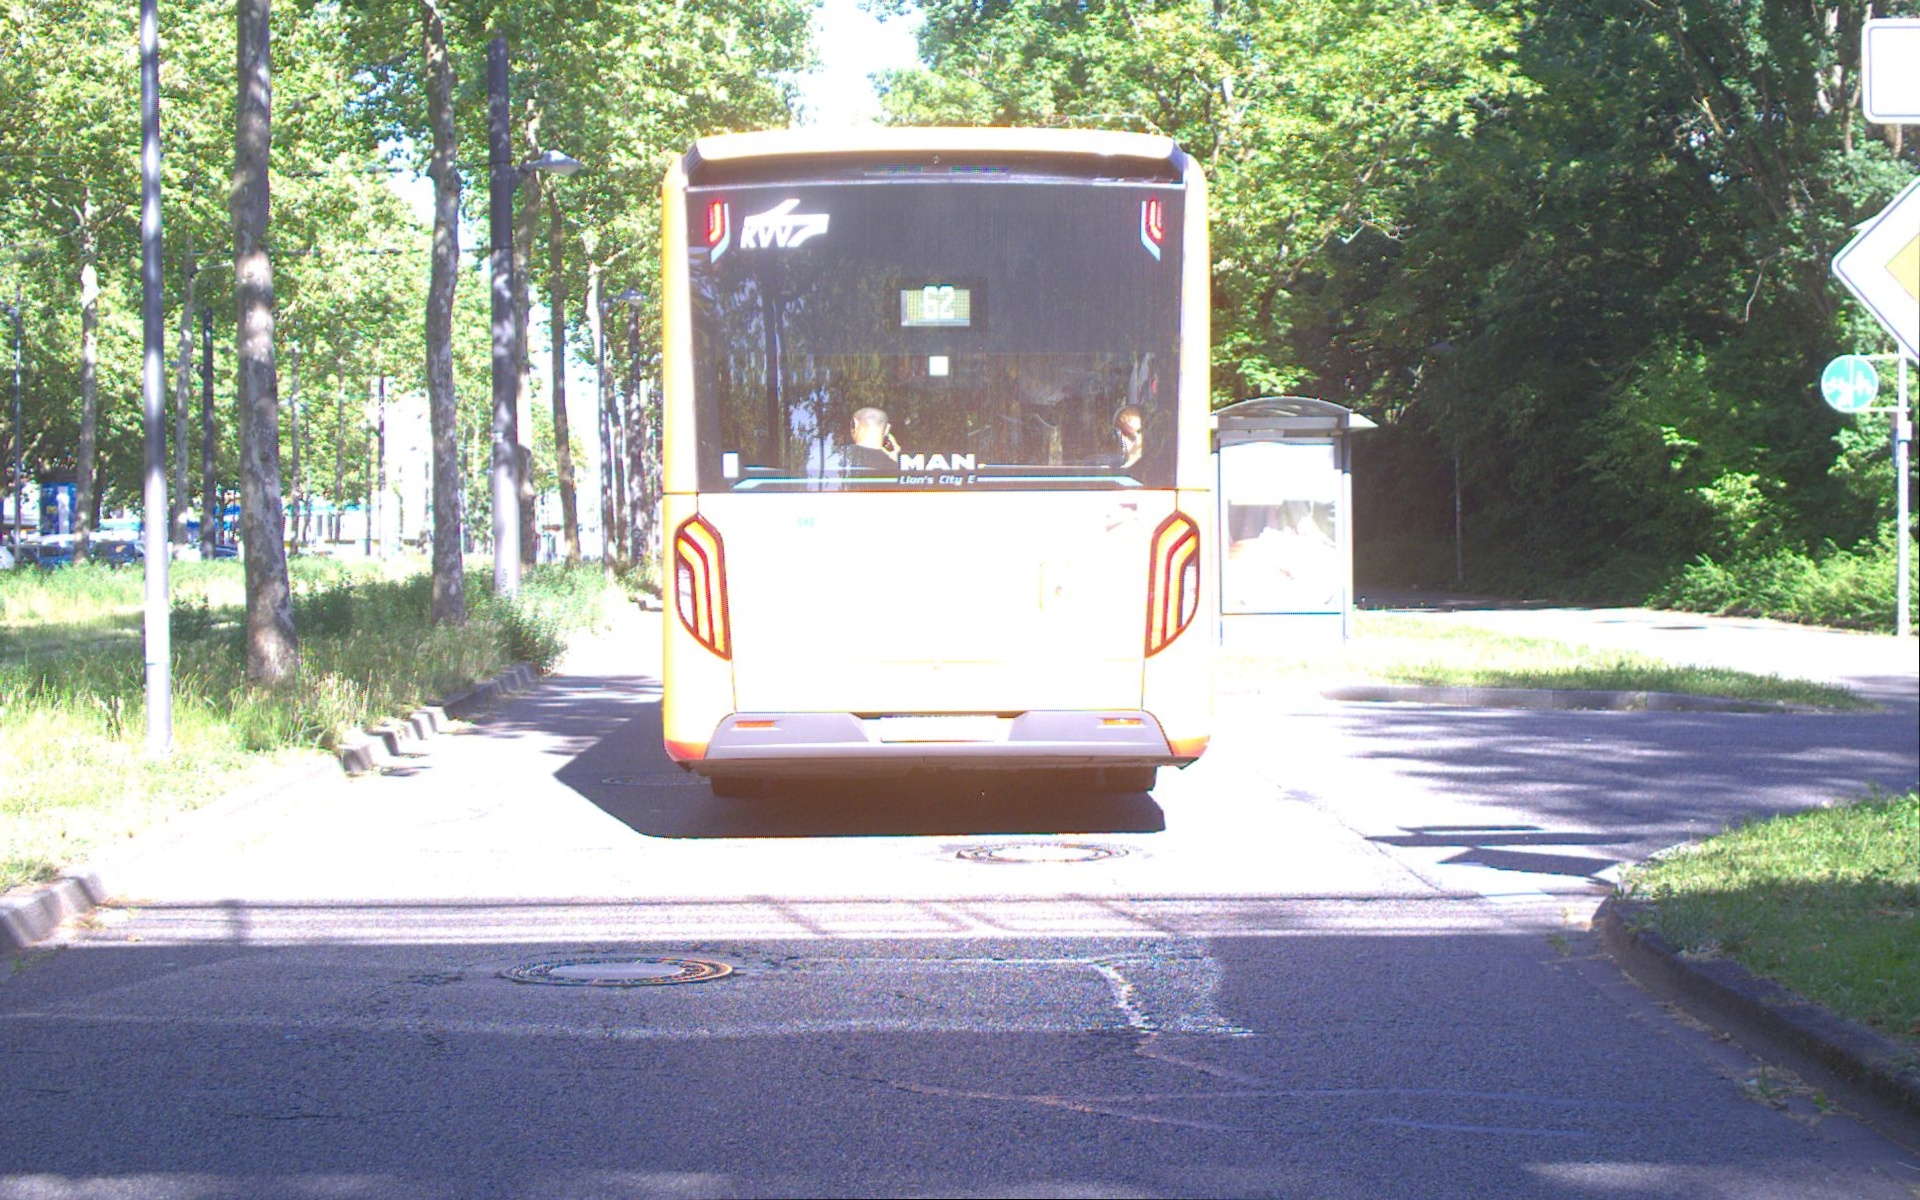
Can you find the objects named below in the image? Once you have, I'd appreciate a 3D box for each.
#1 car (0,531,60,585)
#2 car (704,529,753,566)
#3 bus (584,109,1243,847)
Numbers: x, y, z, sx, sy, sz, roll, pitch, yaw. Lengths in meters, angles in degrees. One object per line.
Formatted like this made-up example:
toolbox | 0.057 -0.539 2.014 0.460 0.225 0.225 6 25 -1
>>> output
car | -27.270 -1.207 98.385 1.794 1.505 4.000 -1 1 2
car | -11.068 -2.524 164.600 1.986 1.637 4.134 2 2 1
bus | -0.372 -0.662 21.387 2.899 3.255 12.219 -1 1 -2
